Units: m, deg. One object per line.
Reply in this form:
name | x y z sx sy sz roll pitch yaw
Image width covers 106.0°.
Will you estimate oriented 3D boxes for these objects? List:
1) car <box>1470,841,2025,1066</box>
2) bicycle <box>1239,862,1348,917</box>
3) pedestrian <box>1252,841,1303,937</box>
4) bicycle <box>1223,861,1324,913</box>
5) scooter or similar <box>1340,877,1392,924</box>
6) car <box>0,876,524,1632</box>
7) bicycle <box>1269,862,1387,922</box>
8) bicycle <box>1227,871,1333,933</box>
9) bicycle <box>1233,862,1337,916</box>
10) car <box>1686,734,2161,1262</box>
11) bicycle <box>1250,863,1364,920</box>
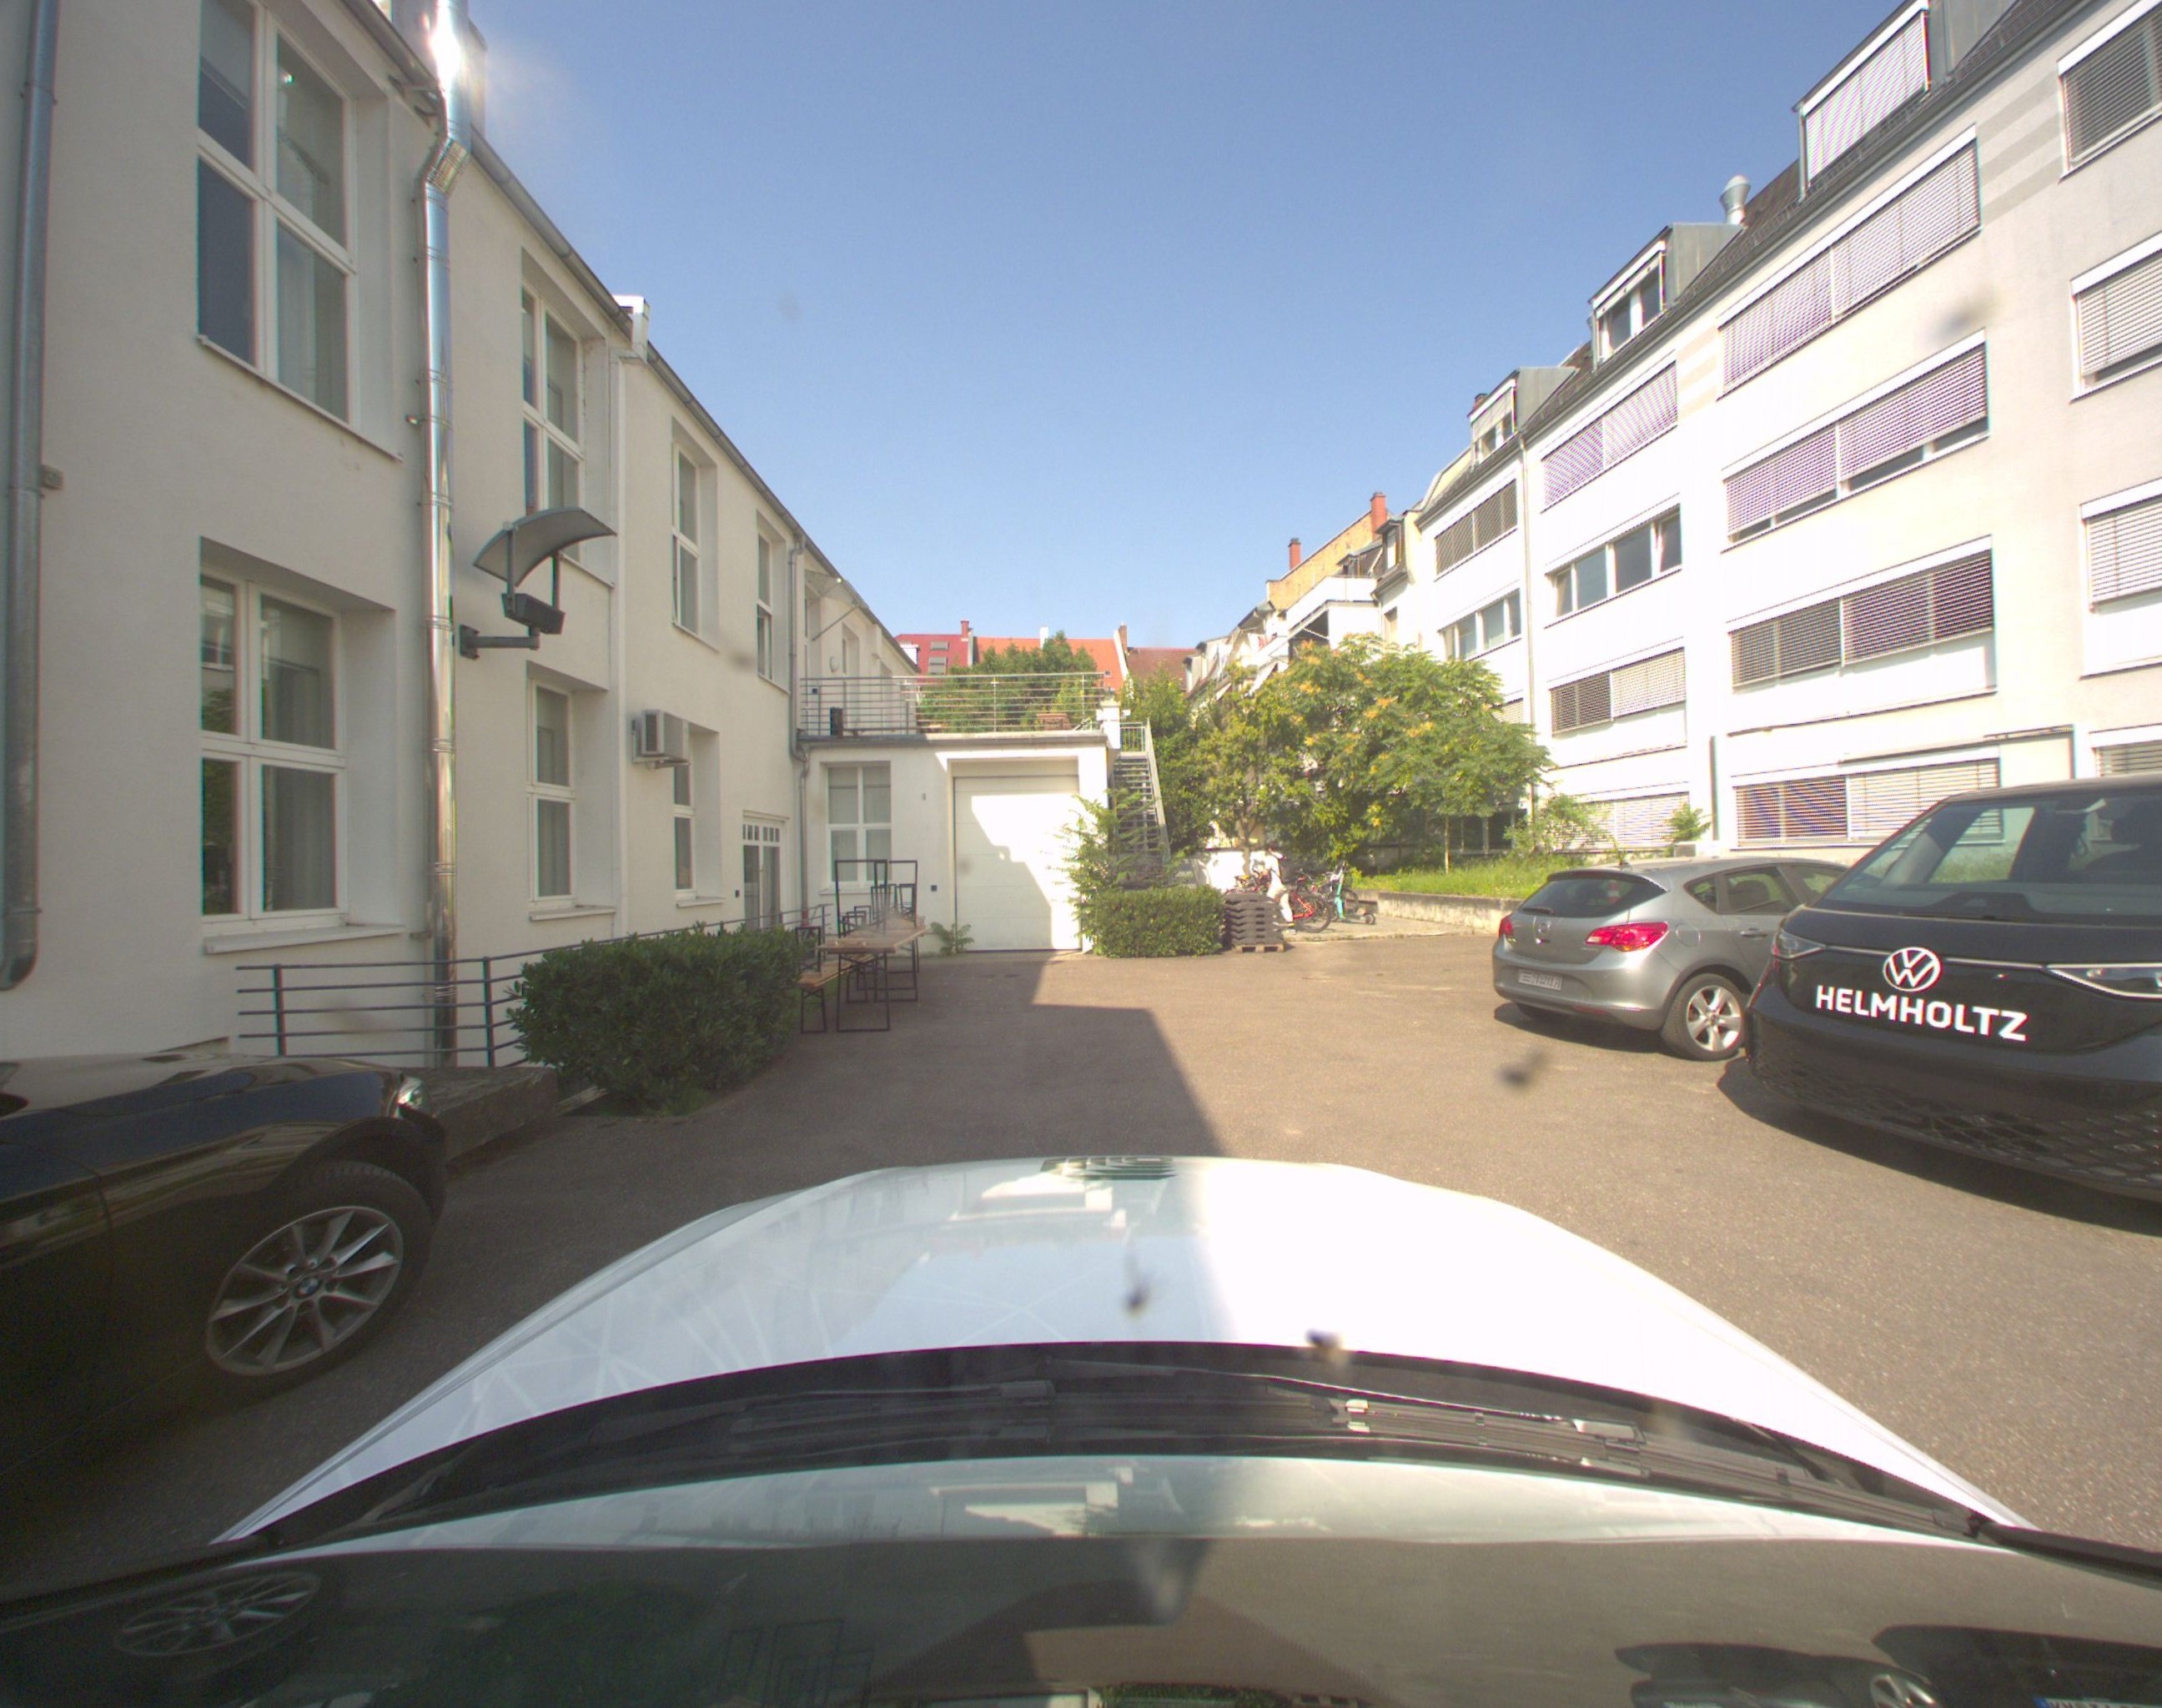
car | 5.565 0.692 6.936 3.902 1.466 1.655 -2 0 -14
bicycle | 4.969 0.823 19.111 2.404 1.246 0.526 -1 -1 -1
pedestrian | 3.782 0.655 15.657 0.603 1.772 0.866 -1 -1 39
bicycle | 4.812 0.823 20.439 2.404 1.246 0.526 -1 -1 -1
scooter or similar | 5.995 0.964 17.137 0.362 0.924 0.988 0 -1 -38
car | -2.962 0.792 1.055 1.789 1.428 4.131 -1 0 -3
bicycle | 5.339 0.814 17.655 2.404 1.246 0.526 -1 -1 -1
bicycle | 3.909 0.942 16.104 1.968 1.143 0.493 -2 0 36
bicycle | 4.926 0.841 19.726 2.404 1.246 0.526 -1 -1 -1
car | 5.778 0.455 4.115 4.336 1.859 1.908 -2 0 -11
bicycle | 5.060 0.830 18.315 2.404 1.246 0.526 -1 -1 -1
